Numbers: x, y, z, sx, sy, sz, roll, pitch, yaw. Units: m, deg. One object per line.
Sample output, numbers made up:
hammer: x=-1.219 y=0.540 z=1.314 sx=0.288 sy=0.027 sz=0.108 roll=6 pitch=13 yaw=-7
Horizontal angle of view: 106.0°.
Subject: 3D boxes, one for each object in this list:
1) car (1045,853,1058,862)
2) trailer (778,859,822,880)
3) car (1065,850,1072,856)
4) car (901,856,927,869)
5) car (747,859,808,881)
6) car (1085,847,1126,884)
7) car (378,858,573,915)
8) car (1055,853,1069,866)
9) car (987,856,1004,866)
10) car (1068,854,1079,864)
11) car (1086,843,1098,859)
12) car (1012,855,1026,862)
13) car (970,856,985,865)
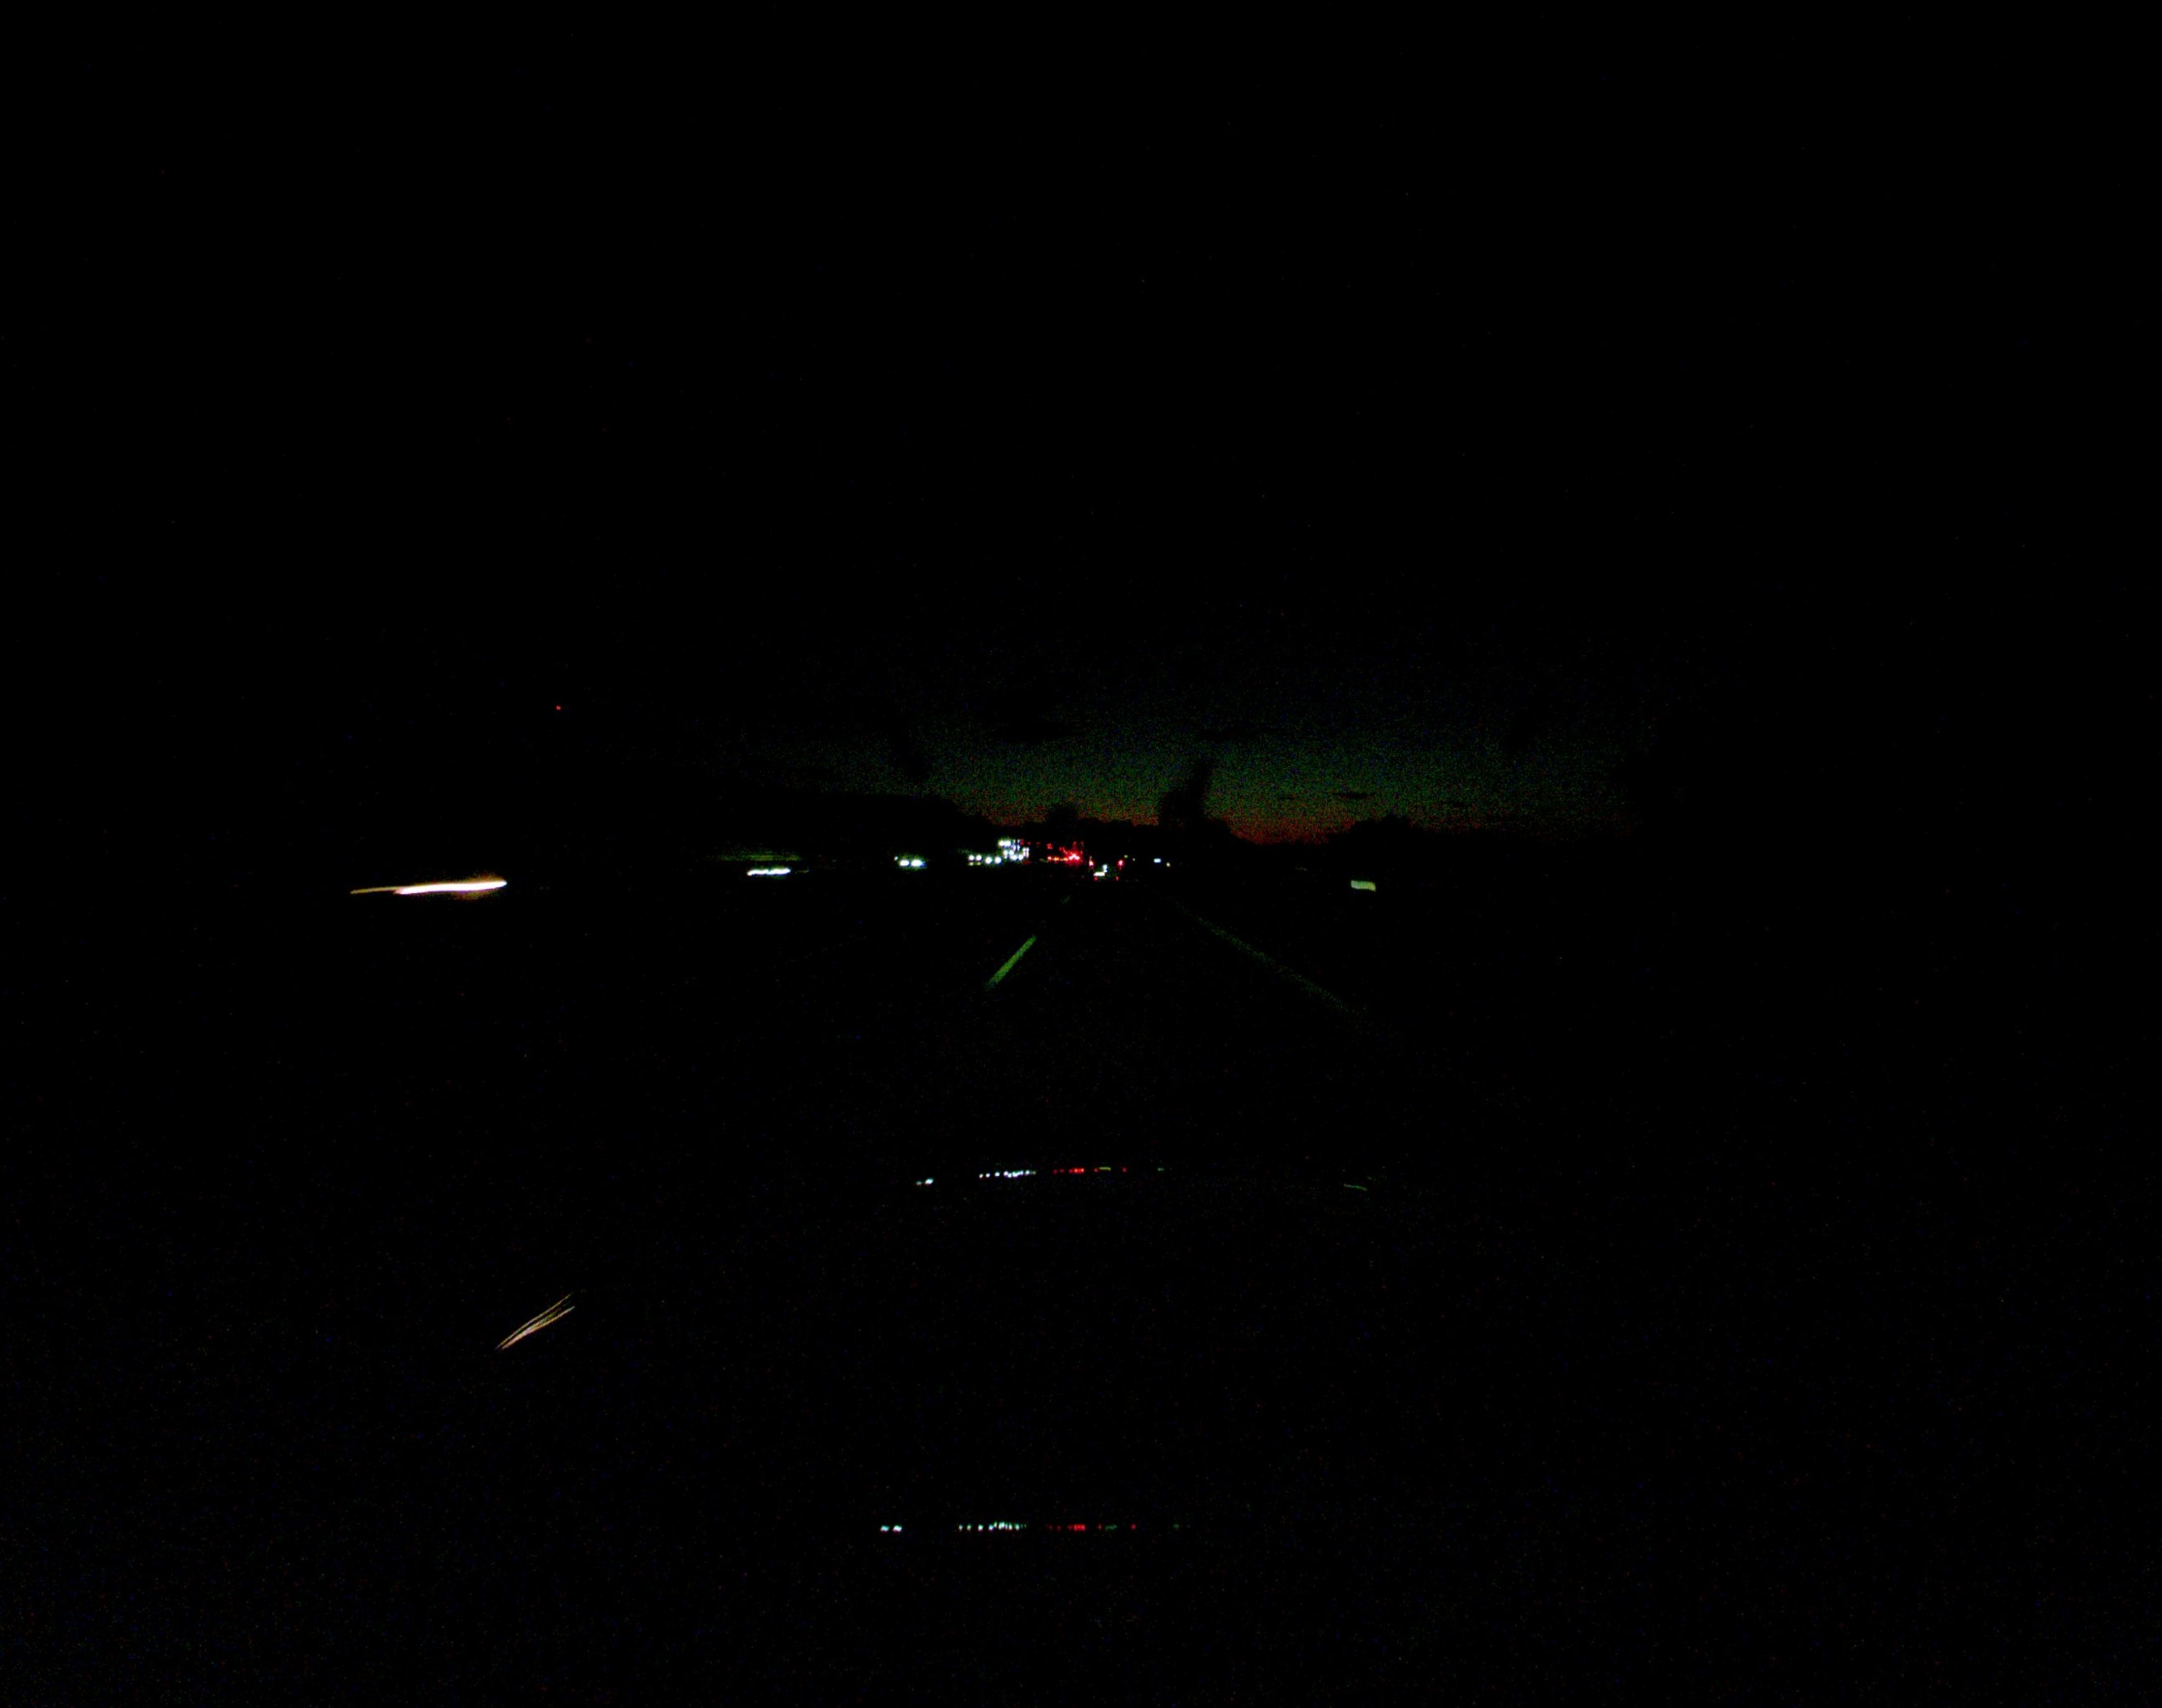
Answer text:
car: x=-5.524 y=0.712 z=153.443 sx=2.164 sy=1.667 sz=4.885 roll=0 pitch=0 yaw=0
trailer: x=-21.095 y=1.129 z=61.300 sx=2.176 sy=1.481 sz=3.129 roll=0 pitch=0 yaw=1
car: x=-3.758 y=-0.310 z=245.984 sx=1.986 sy=1.794 sz=4.000 roll=-1 pitch=-1 yaw=1
car: x=-20.628 y=1.029 z=100.656 sx=2.111 sy=1.556 sz=5.109 roll=0 pitch=0 yaw=1
car: x=-21.180 y=1.083 z=57.107 sx=2.176 sy=1.481 sz=5.243 roll=0 pitch=0 yaw=1
car: x=1.368 y=0.622 z=47.726 sx=2.109 sy=2.000 sz=5.661 roll=0 pitch=1 yaw=-1
car: x=-18.298 y=0.920 z=25.024 sx=2.111 sy=1.556 sz=5.109 roll=0 pitch=0 yaw=1
car: x=-2.727 y=0.857 z=117.418 sx=1.988 sy=1.816 sz=3.997 roll=-1 pitch=-1 yaw=-1
car: x=-13.682 y=1.086 z=130.909 sx=2.111 sy=1.556 sz=5.109 roll=0 pitch=0 yaw=1
car: x=-1.354 y=1.016 z=157.437 sx=1.986 sy=1.794 sz=4.001 roll=-1 pitch=-1 yaw=1
car: x=1.912 y=-0.538 z=141.202 sx=2.025 sy=2.646 sz=5.727 roll=-1 pitch=1 yaw=1
car: x=-14.006 y=1.048 z=184.008 sx=2.551 sy=1.556 sz=5.109 roll=0 pitch=0 yaw=1
car: x=-20.173 y=1.238 z=158.721 sx=2.046 sy=1.782 sz=5.941 roll=0 pitch=0 yaw=1
